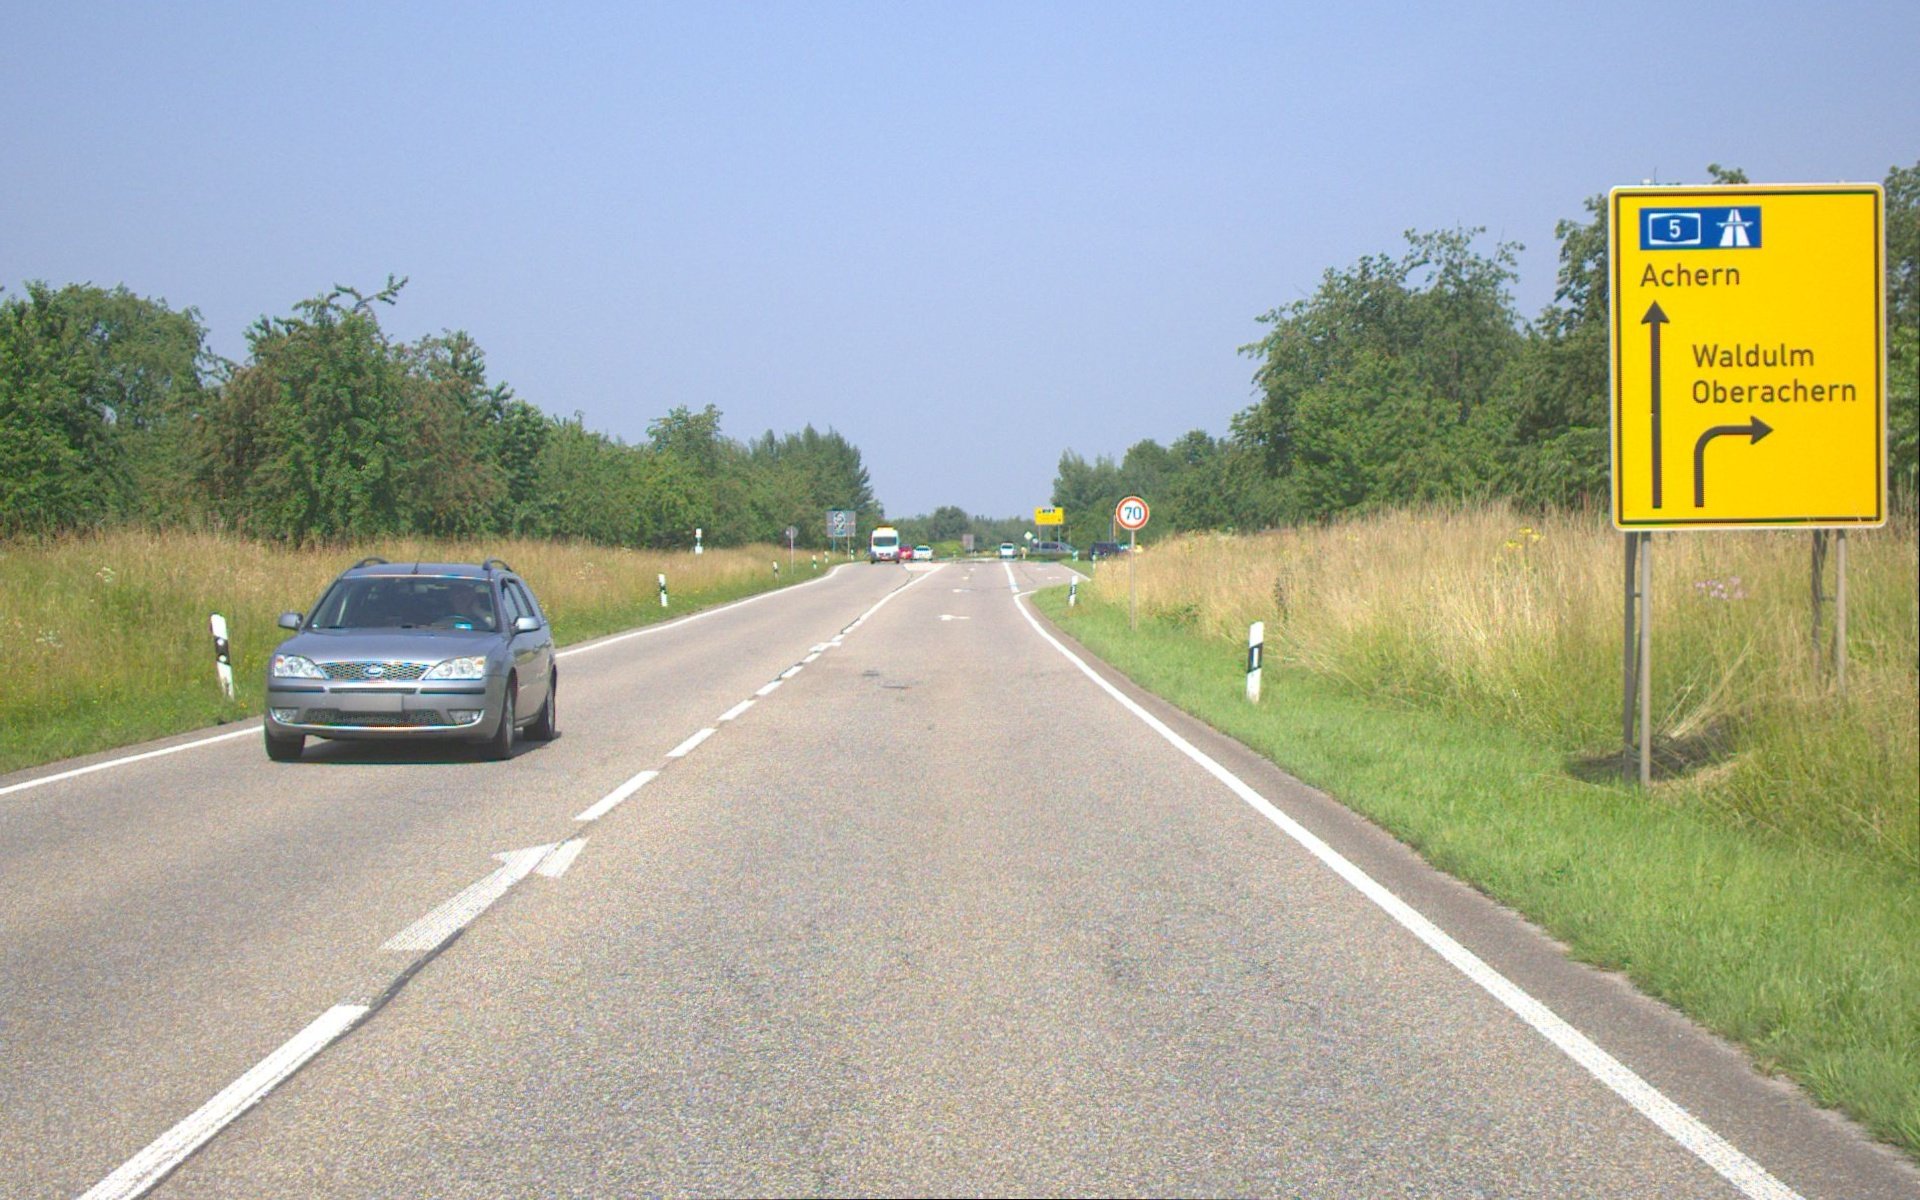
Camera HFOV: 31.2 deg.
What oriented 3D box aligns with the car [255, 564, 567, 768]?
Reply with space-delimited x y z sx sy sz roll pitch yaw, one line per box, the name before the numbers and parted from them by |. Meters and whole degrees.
car | -4.099 0.432 26.358 1.690 1.404 4.894 0 1 -1
